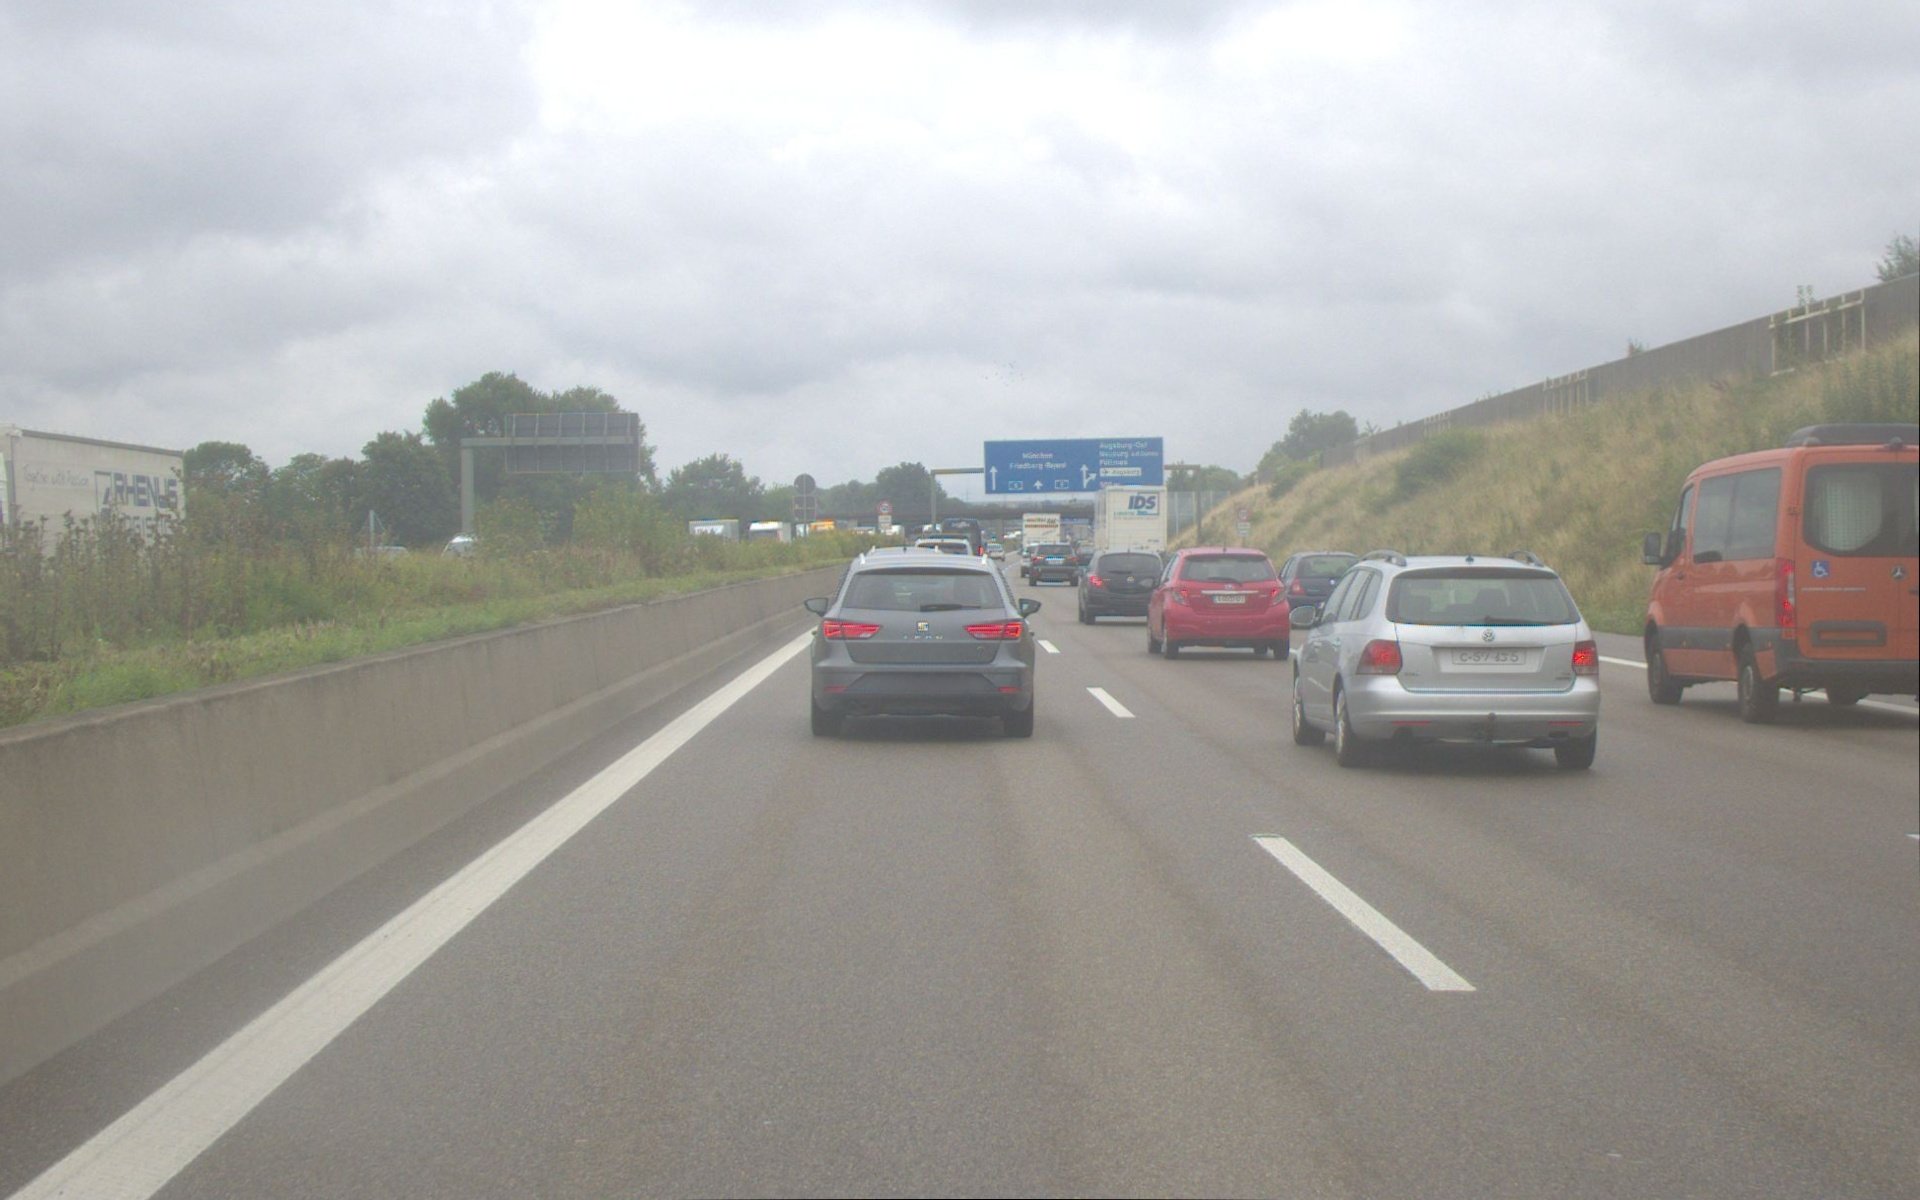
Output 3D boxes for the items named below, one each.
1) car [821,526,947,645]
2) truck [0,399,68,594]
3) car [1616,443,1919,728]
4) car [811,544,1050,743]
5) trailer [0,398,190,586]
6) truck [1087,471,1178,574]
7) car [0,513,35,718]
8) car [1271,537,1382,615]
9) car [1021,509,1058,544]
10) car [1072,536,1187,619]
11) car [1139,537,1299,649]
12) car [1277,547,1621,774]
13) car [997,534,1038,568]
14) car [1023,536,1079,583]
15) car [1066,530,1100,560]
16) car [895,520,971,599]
[{"bbox_3d":[-1.135,-0.242,53.065,1.754,1.744,4.000,1,1,1],"label":"car"},{"bbox_3d":[-18.335,-1.857,62.291,2.969,3.417,5.629,1,1,-1],"label":"truck"},{"bbox_3d":[7.618,-0.191,30.998,2.085,2.307,6.182,0,1,-1],"label":"car"},{"bbox_3d":[-0.213,0.302,27.650,1.768,1.462,4.000,1,1,0],"label":"car"},{"bbox_3d":[-18.453,-2.067,69.495,2.914,3.417,13.243,1,1,-1],"label":"trailer"},{"bbox_3d":[7.563,-3.351,153.369,3.283,4.280,19.033,1,1,1],"label":"truck"},{"bbox_3d":[-10.366,0.167,32.387,1.993,2.007,5.069,0,1,-1],"label":"car"},{"bbox_3d":[6.752,-0.454,63.647,1.702,1.396,3.875,1,1,1],"label":"car"},{"bbox_3d":[4.658,-4.321,201.890,1.993,2.007,4.000,-1,1,-1],"label":"car"},{"bbox_3d":[3.239,-0.467,66.460,1.921,1.516,4.622,0,1,-1],"label":"car"},{"bbox_3d":[3.504,-0.134,47.230,1.891,1.442,4.685,0,1,1],"label":"car"},{"bbox_3d":[3.362,0.355,24.422,1.742,1.420,4.517,-1,1,0],"label":"car"},{"bbox_3d":[2.636,-2.285,159.073,1.751,1.512,4.000,-1,1,-1],"label":"car"},{"bbox_3d":[3.348,-1.503,126.749,1.845,1.681,4.000,1,1,-1],"label":"car"},{"bbox_3d":[7.945,-3.555,222.359,1.993,1.853,4.391,-1,1,-1],"label":"car"},{"bbox_3d":[-0.635,-0.986,82.208,1.704,1.790,3.855,-2,1,0],"label":"car"}]
